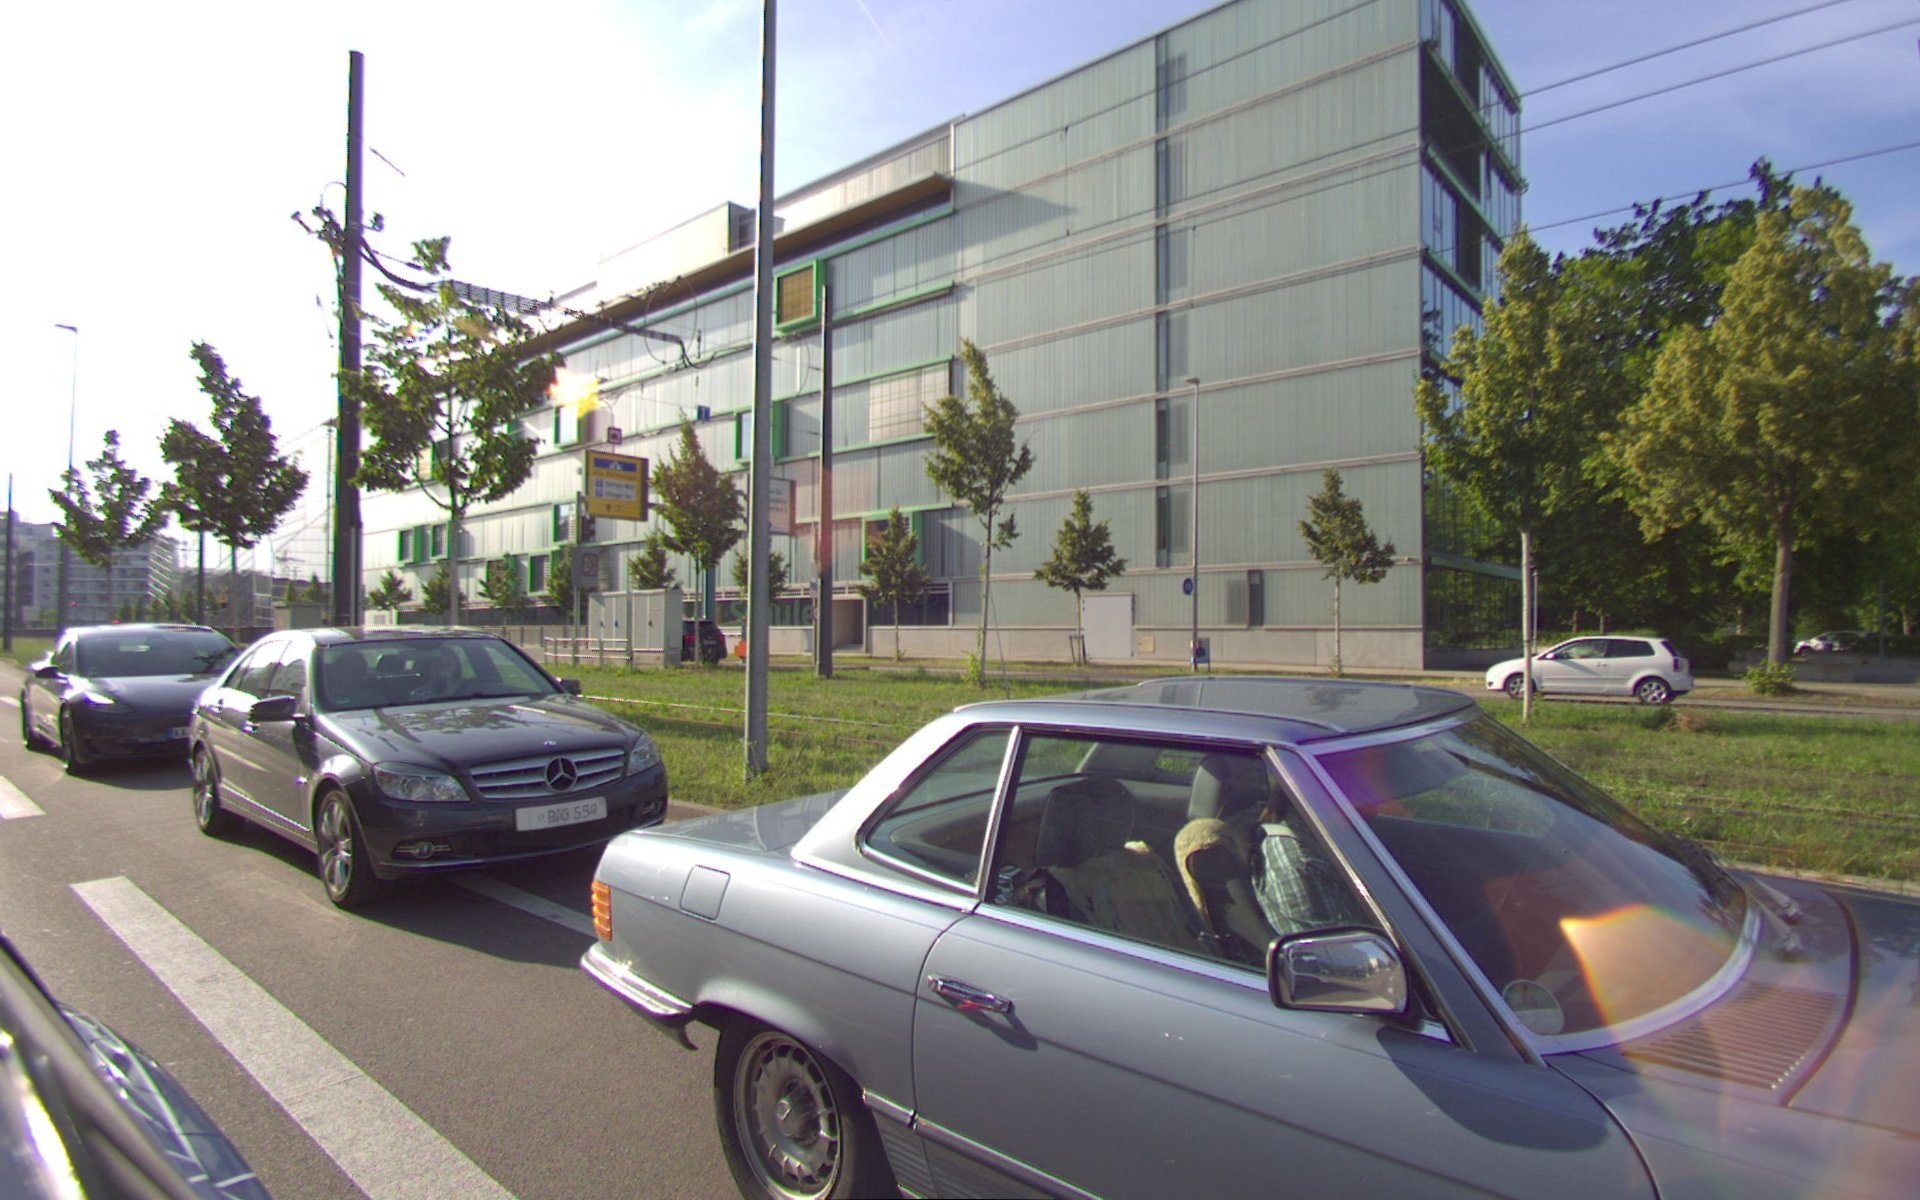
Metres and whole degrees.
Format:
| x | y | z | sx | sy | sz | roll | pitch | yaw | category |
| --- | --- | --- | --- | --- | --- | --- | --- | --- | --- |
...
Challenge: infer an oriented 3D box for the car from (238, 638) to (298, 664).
| x | y | z | sx | sy | sz | roll | pitch | yaw | category |
| --- | --- | --- | --- | --- | --- | --- | --- | --- | --- |
| -42.791 | 3.144 | 62.537 | 4.308 | 1.539 | 1.973 | -2 | -3 | 40 | car |

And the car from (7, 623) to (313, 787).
| x | y | z | sx | sy | sz | roll | pitch | yaw | category |
| --- | --- | --- | --- | --- | --- | --- | --- | --- | --- |
| -8.879 | 1.009 | 11.094 | 4.332 | 1.396 | 1.870 | -2 | -1 | 41 | car |

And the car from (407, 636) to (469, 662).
| x | y | z | sx | sy | sz | roll | pitch | yaw | category |
| --- | --- | --- | --- | --- | --- | --- | --- | --- | --- |
| -32.558 | 3.016 | 63.060 | 4.437 | 1.539 | 1.886 | -2 | -3 | 40 | car |

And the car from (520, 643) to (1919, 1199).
| x | y | z | sx | sy | sz | roll | pitch | yaw | category |
| --- | --- | --- | --- | --- | --- | --- | --- | --- | --- |
| 0.989 | 0.797 | 2.118 | 4.397 | 1.340 | 1.746 | -2 | -1 | 40 | car |

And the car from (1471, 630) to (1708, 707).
| x | y | z | sx | sy | sz | roll | pitch | yaw | category |
| --- | --- | --- | --- | --- | --- | --- | --- | --- | --- |
| 13.824 | 1.444 | 22.335 | 4.219 | 1.539 | 1.858 | -2 | -3 | 39 | car |

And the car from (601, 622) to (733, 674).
| x | y | z | sx | sy | sz | roll | pitch | yaw | category |
| --- | --- | --- | --- | --- | --- | --- | --- | --- | --- |
| -10.321 | 1.671 | 35.450 | 4.989 | 1.697 | 1.974 | -2 | -3 | 39 | car |

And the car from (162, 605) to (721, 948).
| x | y | z | sx | sy | sz | roll | pitch | yaw | category |
| --- | --- | --- | --- | --- | --- | --- | --- | --- | --- |
| -3.590 | 0.846 | 6.586 | 4.352 | 1.490 | 1.768 | -2 | -1 | 41 | car |
